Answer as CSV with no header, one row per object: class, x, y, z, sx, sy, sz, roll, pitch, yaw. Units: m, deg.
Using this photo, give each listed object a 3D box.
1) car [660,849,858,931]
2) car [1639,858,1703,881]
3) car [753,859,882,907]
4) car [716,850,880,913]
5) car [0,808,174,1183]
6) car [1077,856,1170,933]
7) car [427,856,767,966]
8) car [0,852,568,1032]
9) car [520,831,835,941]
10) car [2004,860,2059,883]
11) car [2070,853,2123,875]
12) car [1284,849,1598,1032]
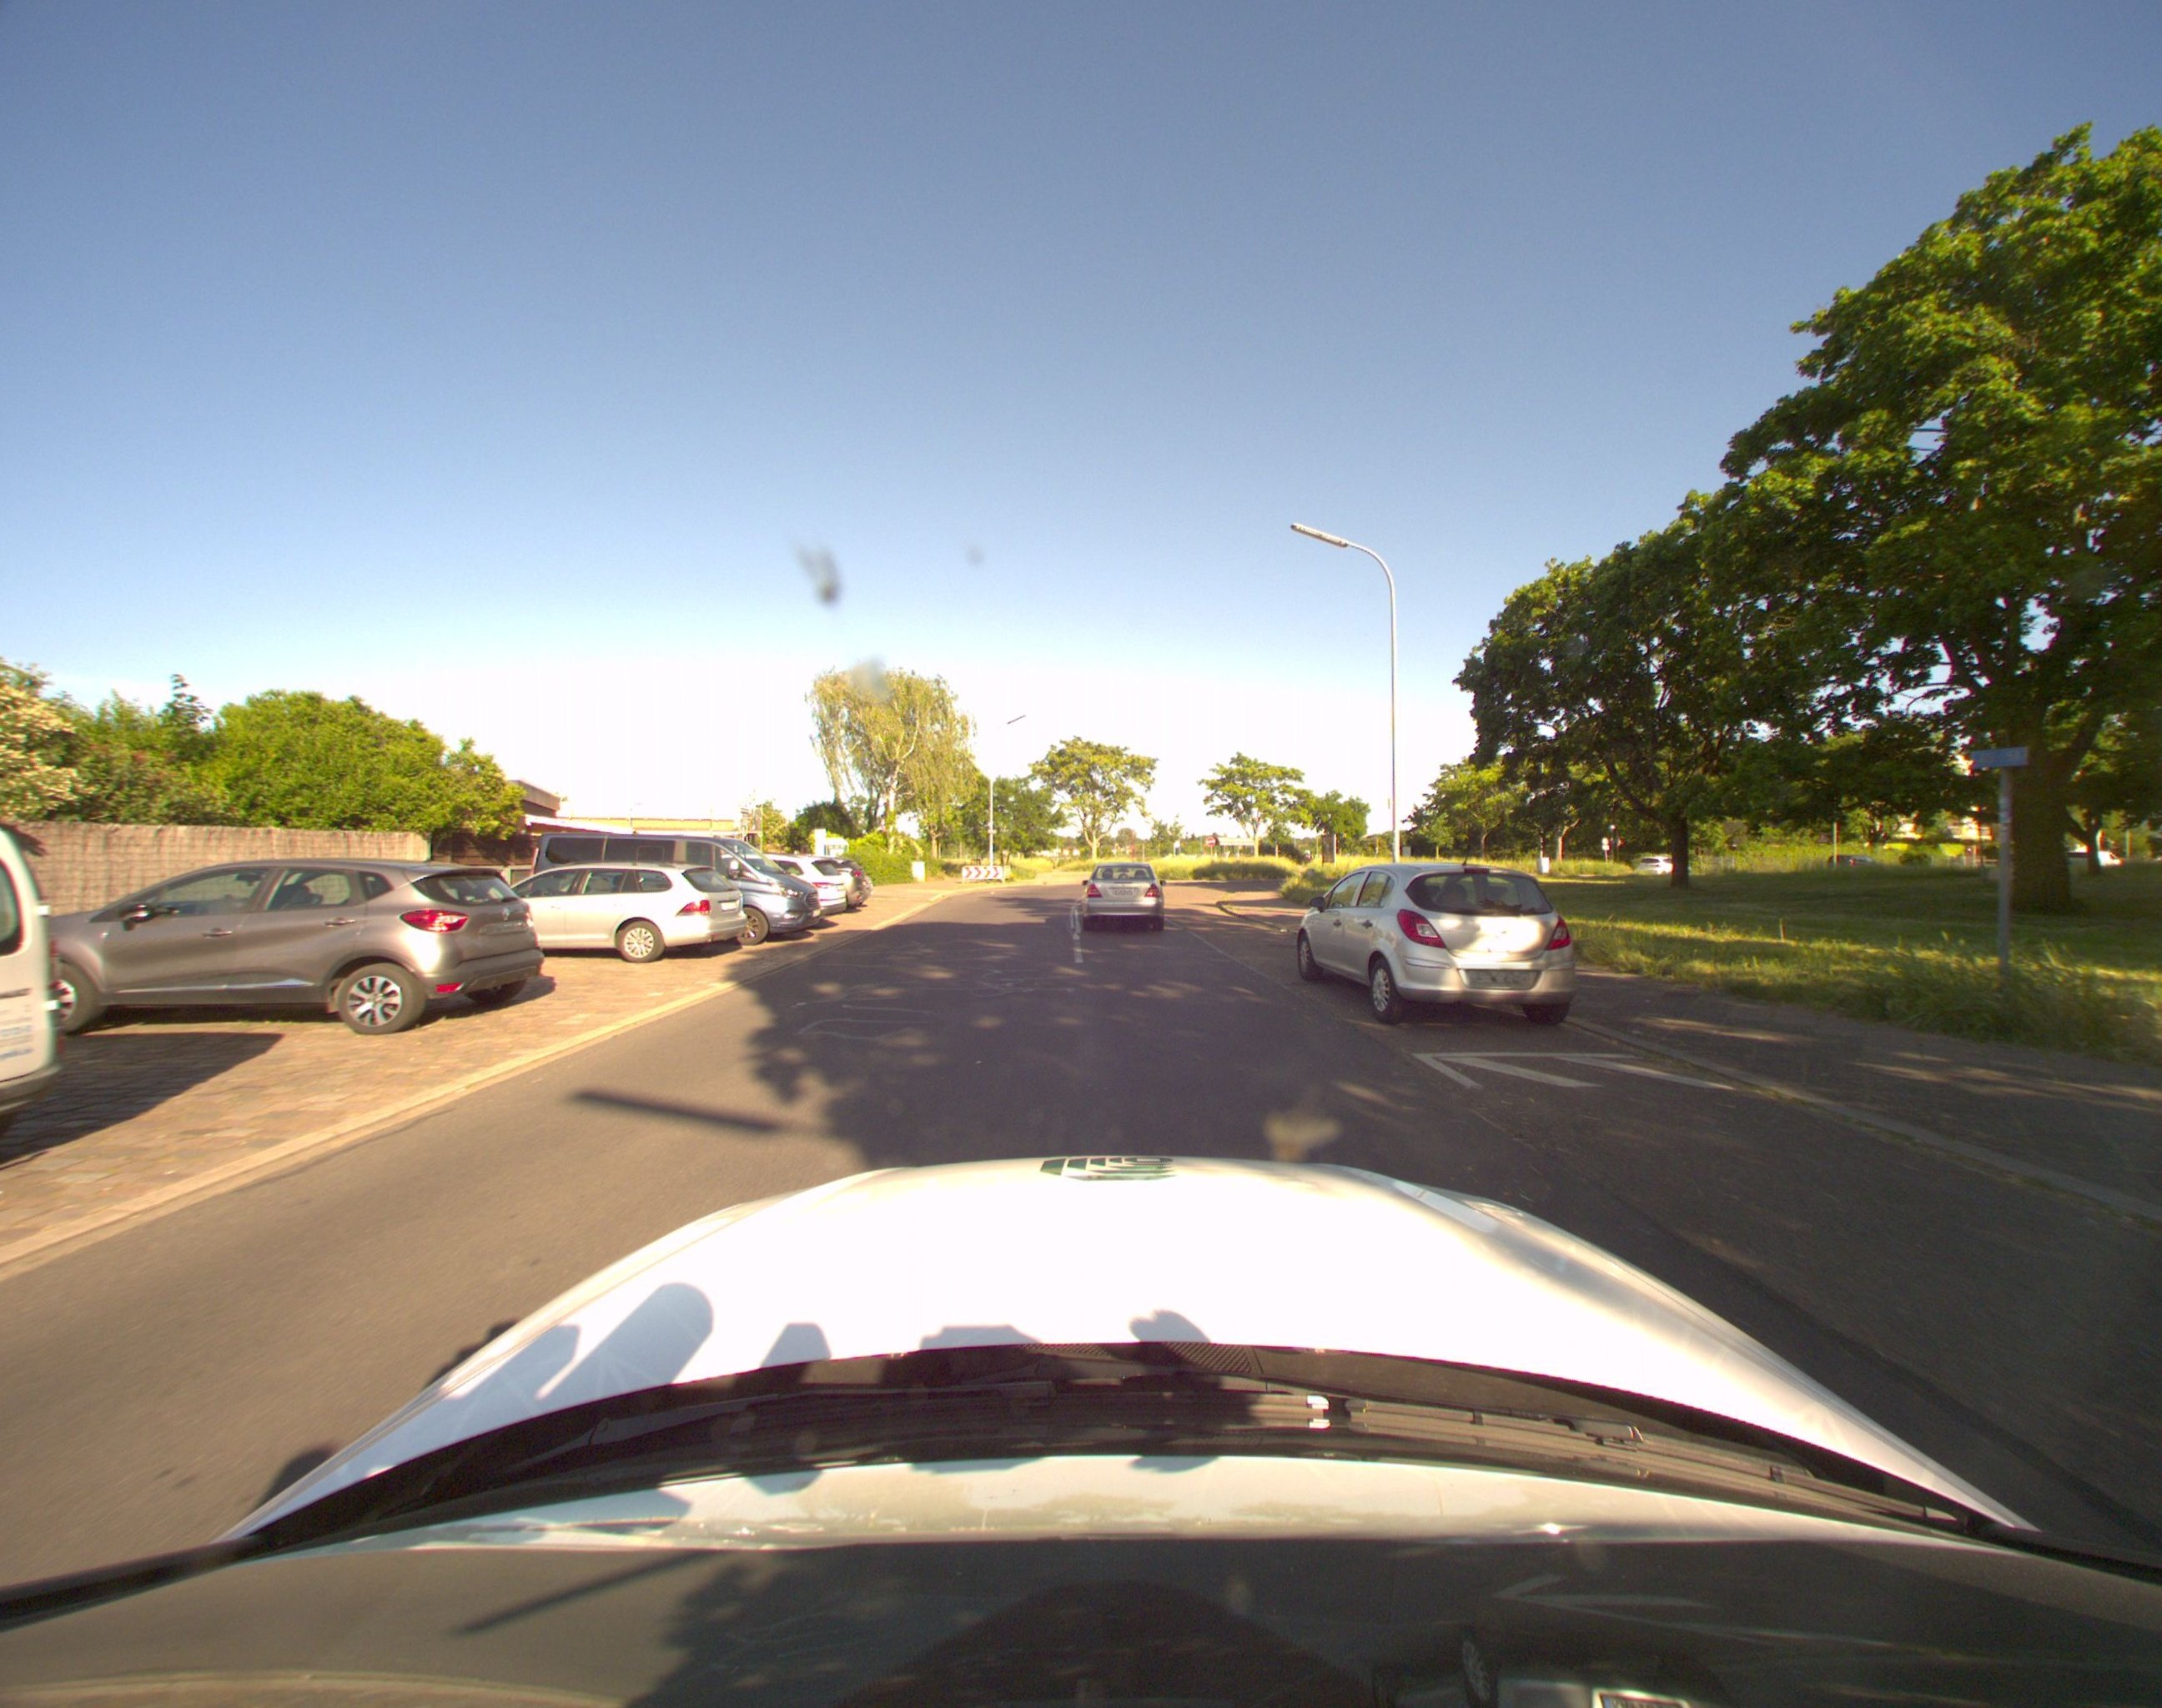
car,-7.022,0.771,18.027,3.599,1.607,1.733,2,-1,1
car,39.658,1.036,54.723,3.742,1.479,1.715,-1,0,-21
car,-8.364,0.924,26.165,3.685,1.459,1.629,1,-1,-9
car,-8.017,0.766,23.368,3.973,1.612,1.818,2,-1,0
car,-7.093,0.642,3.547,3.967,1.780,1.924,1,0,-2
car,1.009,0.806,18.217,1.808,1.463,4.366,1,0,4
car,-7.446,0.851,12.879,4.124,1.492,1.925,2,-1,-1
car,-7.531,0.780,7.963,3.807,1.532,1.786,1,-1,-5
car,-7.393,0.586,15.383,4.861,1.915,1.997,0,-1,-4
car,79.438,1.438,68.036,3.850,1.759,1.693,0,2,-19
car,89.450,0.854,71.733,3.850,1.851,1.693,0,2,-19
car,3.548,0.765,8.834,1.726,1.543,3.787,1,-1,-1
